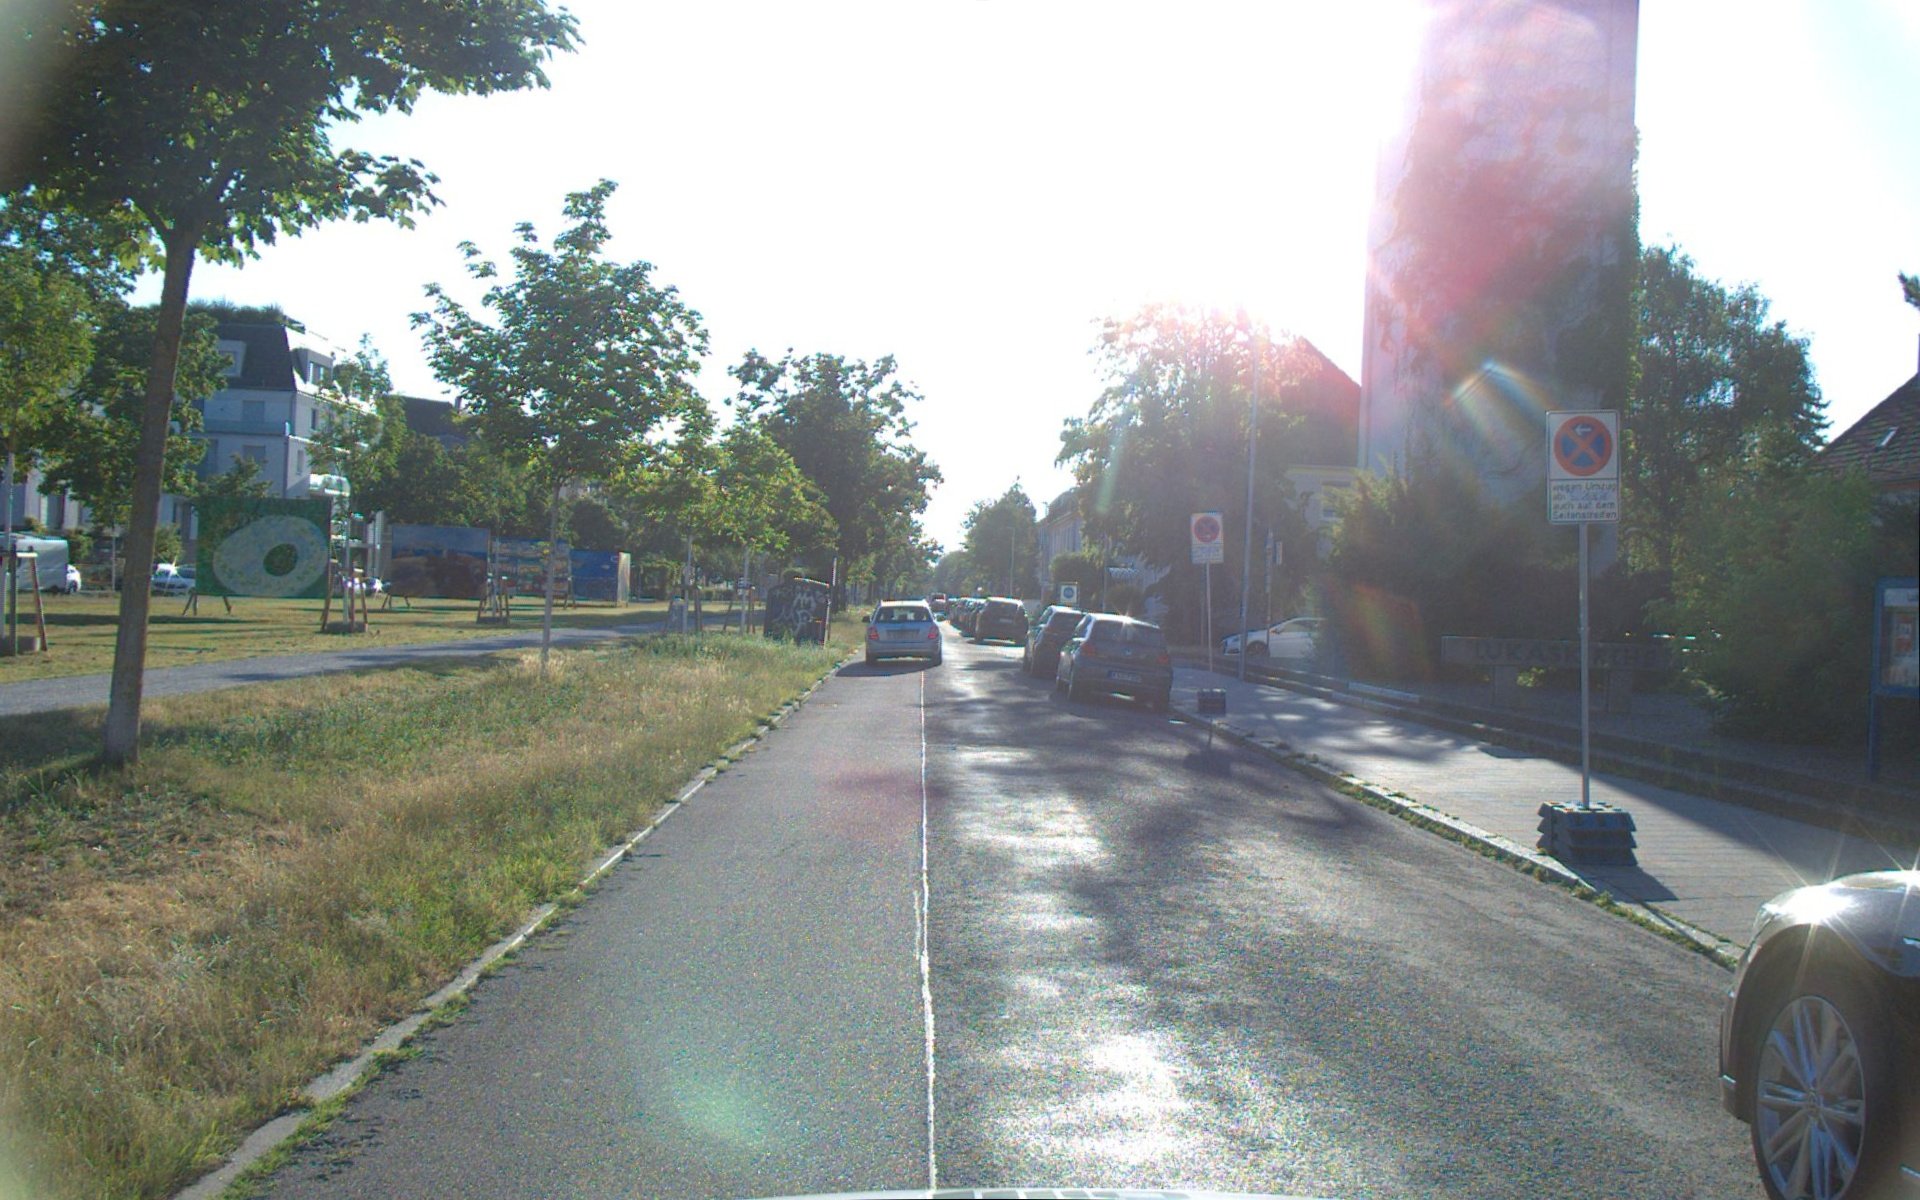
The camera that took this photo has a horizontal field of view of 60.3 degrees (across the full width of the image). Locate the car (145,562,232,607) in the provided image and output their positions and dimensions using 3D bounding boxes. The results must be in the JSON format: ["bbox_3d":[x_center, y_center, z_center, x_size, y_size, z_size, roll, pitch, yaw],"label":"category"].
[{"bbox_3d":[-35.133,-0.680,75.423,1.796,1.932,4.641,-1,-1,0],"label":"car"}]

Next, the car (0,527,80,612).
[{"bbox_3d":[-34.475,-1.045,59.809,2.214,2.875,5.869,-1,-1,-1],"label":"car"}]

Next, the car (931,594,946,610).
[{"bbox_3d":[-2.878,0.254,219.799,1.948,2.059,3.999,2,0,-1],"label":"car"}]

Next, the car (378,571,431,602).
[{"bbox_3d":[-35.634,-0.839,106.149,1.889,1.860,4.690,-1,-1,-1],"label":"car"}]

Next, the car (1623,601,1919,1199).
[{"bbox_3d":[3.216,0.907,2.773,1.954,1.625,4.883,6,-1,-2],"label":"car"}]

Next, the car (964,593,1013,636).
[{"bbox_3d":[1.272,0.636,75.250,1.895,1.750,4.620,5,0,-2],"label":"car"}]

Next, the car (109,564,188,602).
[{"bbox_3d":[-40.916,-0.829,83.519,1.746,1.732,4.665,-1,-1,-1],"label":"car"}]

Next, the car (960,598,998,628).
[{"bbox_3d":[1.042,0.686,91.161,1.953,1.487,4.561,4,0,0],"label":"car"}]

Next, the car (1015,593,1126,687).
[{"bbox_3d":[2.263,0.786,35.030,1.787,1.587,4.621,8,0,-1],"label":"car"}]

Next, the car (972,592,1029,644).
[{"bbox_3d":[1.500,0.696,63.305,1.796,1.762,5.030,4,-1,-2],"label":"car"}]

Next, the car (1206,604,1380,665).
[{"bbox_3d":[9.961,1.063,49.657,4.749,1.512,2.001,3,-4,-2],"label":"car"}]

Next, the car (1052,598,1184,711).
[{"bbox_3d":[2.616,0.861,28.261,1.654,1.554,4.174,6,1,-1],"label":"car"}]

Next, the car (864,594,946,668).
[{"bbox_3d":[-1.241,0.675,38.464,1.786,1.594,3.999,1,0,-1],"label":"car"}]
